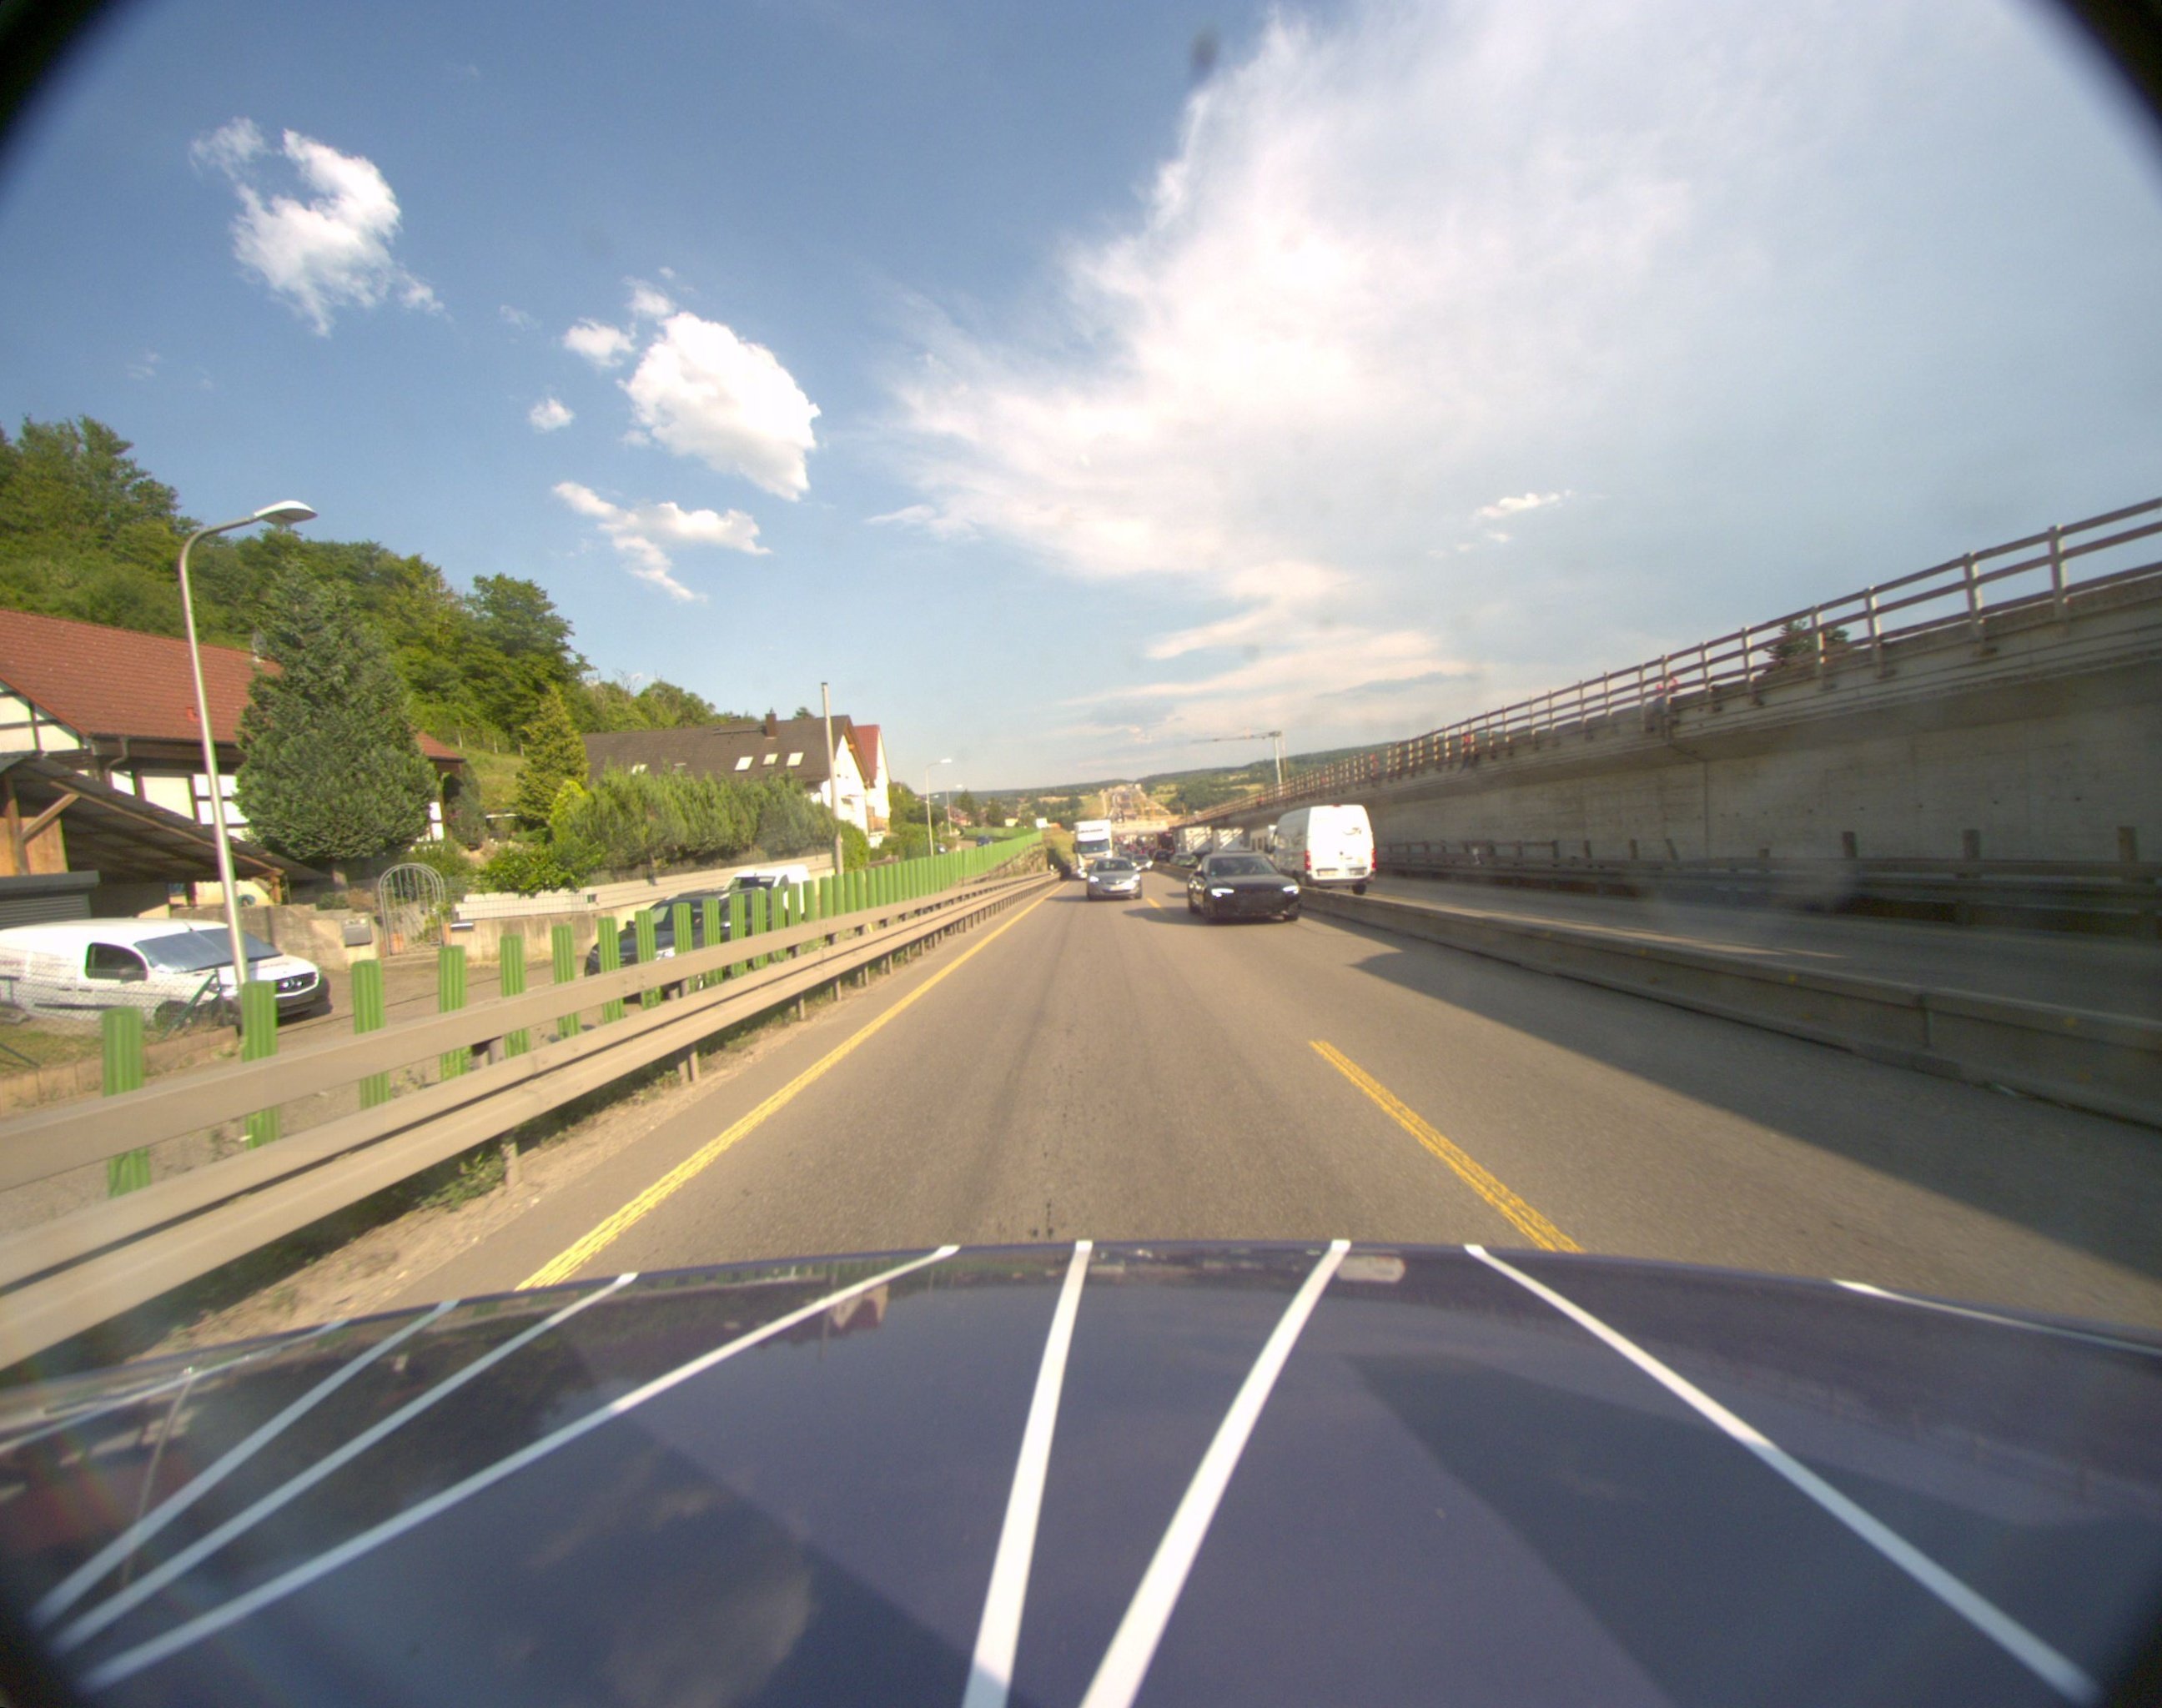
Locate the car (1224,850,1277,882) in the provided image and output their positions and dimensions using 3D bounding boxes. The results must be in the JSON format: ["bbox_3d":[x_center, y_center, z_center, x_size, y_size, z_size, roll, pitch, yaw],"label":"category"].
[{"bbox_3d":[8.101,0.542,36.623,1.712,1.312,3.664,-6,0,1],"label":"car"}]

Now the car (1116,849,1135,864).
[{"bbox_3d":[5.040,0.230,86.642,1.998,1.565,4.000,-2,1,2],"label":"car"}]

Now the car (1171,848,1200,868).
[{"bbox_3d":[8.131,0.299,59.369,1.712,1.312,3.664,-6,0,1],"label":"car"}]

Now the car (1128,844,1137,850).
[{"bbox_3d":[11.359,-1.549,168.154,1.712,1.312,3.664,-6,0,1],"label":"car"}]

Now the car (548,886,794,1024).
[{"bbox_3d":[-7.425,1.721,14.423,1.866,1.775,4.497,-2,3,4],"label":"car"}]

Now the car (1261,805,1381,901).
[{"bbox_3d":[7.264,-0.044,23.714,2.001,2.601,5.613,-2,0,1],"label":"car"}]

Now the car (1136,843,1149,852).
[{"bbox_3d":[9.741,-1.021,121.126,1.712,1.312,3.664,-6,0,1],"label":"car"}]

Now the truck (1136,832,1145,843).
[{"bbox_3d":[17.507,-4.763,223.728,1.998,3.154,5.763,-2,1,1],"label":"truck"}]

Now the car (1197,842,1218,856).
[{"bbox_3d":[13.927,-0.572,83.713,1.712,1.312,3.664,-6,0,1],"label":"car"}]

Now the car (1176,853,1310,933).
[{"bbox_3d":[3.447,0.755,17.238,1.945,1.471,5.222,-2,0,1],"label":"car"}]

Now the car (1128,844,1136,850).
[{"bbox_3d":[12.084,-1.684,180.590,1.712,1.312,3.664,-6,0,1],"label":"car"}]

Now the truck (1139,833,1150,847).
[{"bbox_3d":[14.940,-3.210,179.791,1.998,3.154,5.763,-2,1,1],"label":"truck"}]

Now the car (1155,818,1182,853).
[{"bbox_3d":[14.613,-3.014,128.025,3.327,5.356,14.298,-2,1,2],"label":"car"}]

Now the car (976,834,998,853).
[{"bbox_3d":[-10.283,-1.151,83.292,1.999,2.002,3.998,-2,1,-3],"label":"car"}]

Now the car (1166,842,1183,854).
[{"bbox_3d":[12.120,-0.761,98.242,1.712,1.312,3.664,-6,0,1],"label":"car"}]

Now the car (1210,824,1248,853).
[{"bbox_3d":[11.961,-1.239,61.670,2.214,2.011,3.973,-6,1,1],"label":"car"}]

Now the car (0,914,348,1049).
[{"bbox_3d":[-14.763,2.001,12.325,3.996,1.829,1.749,-1,2,1],"label":"car"}]

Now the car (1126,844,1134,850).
[{"bbox_3d":[12.158,-1.763,187.722,1.712,1.312,3.664,-6,0,1],"label":"car"}]

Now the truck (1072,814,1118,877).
[{"bbox_3d":[1.080,-0.635,56.976,2.892,4.059,13.892,-2,1,1],"label":"truck"}]

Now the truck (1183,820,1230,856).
[{"bbox_3d":[11.993,-1.510,73.237,3.243,3.127,6.488,-2,1,0],"label":"truck"}]

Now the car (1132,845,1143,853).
[{"bbox_3d":[10.811,-0.973,145.726,1.712,1.312,3.664,-6,0,1],"label":"car"}]

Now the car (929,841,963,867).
[{"bbox_3d":[-11.065,0.014,62.564,1.998,2.002,3.999,-2,1,1],"label":"car"}]

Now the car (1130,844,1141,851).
[{"bbox_3d":[10.856,-1.347,151.607,1.712,1.312,3.664,-6,0,1],"label":"car"}]

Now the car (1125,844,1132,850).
[{"bbox_3d":[12.512,-1.893,200.079,1.712,1.312,3.664,-6,0,1],"label":"car"}]

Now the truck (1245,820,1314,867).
[{"bbox_3d":[11.276,-0.572,43.688,2.280,2.288,6.063,-6,0,1],"label":"truck"}]

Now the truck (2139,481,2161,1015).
[{"bbox_3d":[9.982,-0.816,0.869,2.823,4.234,10.579,-2,1,0],"label":"truck"}]

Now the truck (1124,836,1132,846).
[{"bbox_3d":[14.838,-4.146,238.737,1.998,3.154,5.763,-2,1,1],"label":"truck"}]

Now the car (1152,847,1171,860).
[{"bbox_3d":[8.927,-0.071,84.290,1.712,1.312,3.664,-6,0,1],"label":"car"}]

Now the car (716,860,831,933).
[{"bbox_3d":[-9.647,1.260,24.244,1.824,1.930,4.284,-4,1,0],"label":"car"}]

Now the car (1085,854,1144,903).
[{"bbox_3d":[1.082,0.769,26.307,1.810,1.478,4.118,-2,0,0],"label":"car"}]

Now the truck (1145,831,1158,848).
[{"bbox_3d":[14.130,-2.867,151.798,1.998,3.154,5.763,-2,1,1],"label":"truck"}]
